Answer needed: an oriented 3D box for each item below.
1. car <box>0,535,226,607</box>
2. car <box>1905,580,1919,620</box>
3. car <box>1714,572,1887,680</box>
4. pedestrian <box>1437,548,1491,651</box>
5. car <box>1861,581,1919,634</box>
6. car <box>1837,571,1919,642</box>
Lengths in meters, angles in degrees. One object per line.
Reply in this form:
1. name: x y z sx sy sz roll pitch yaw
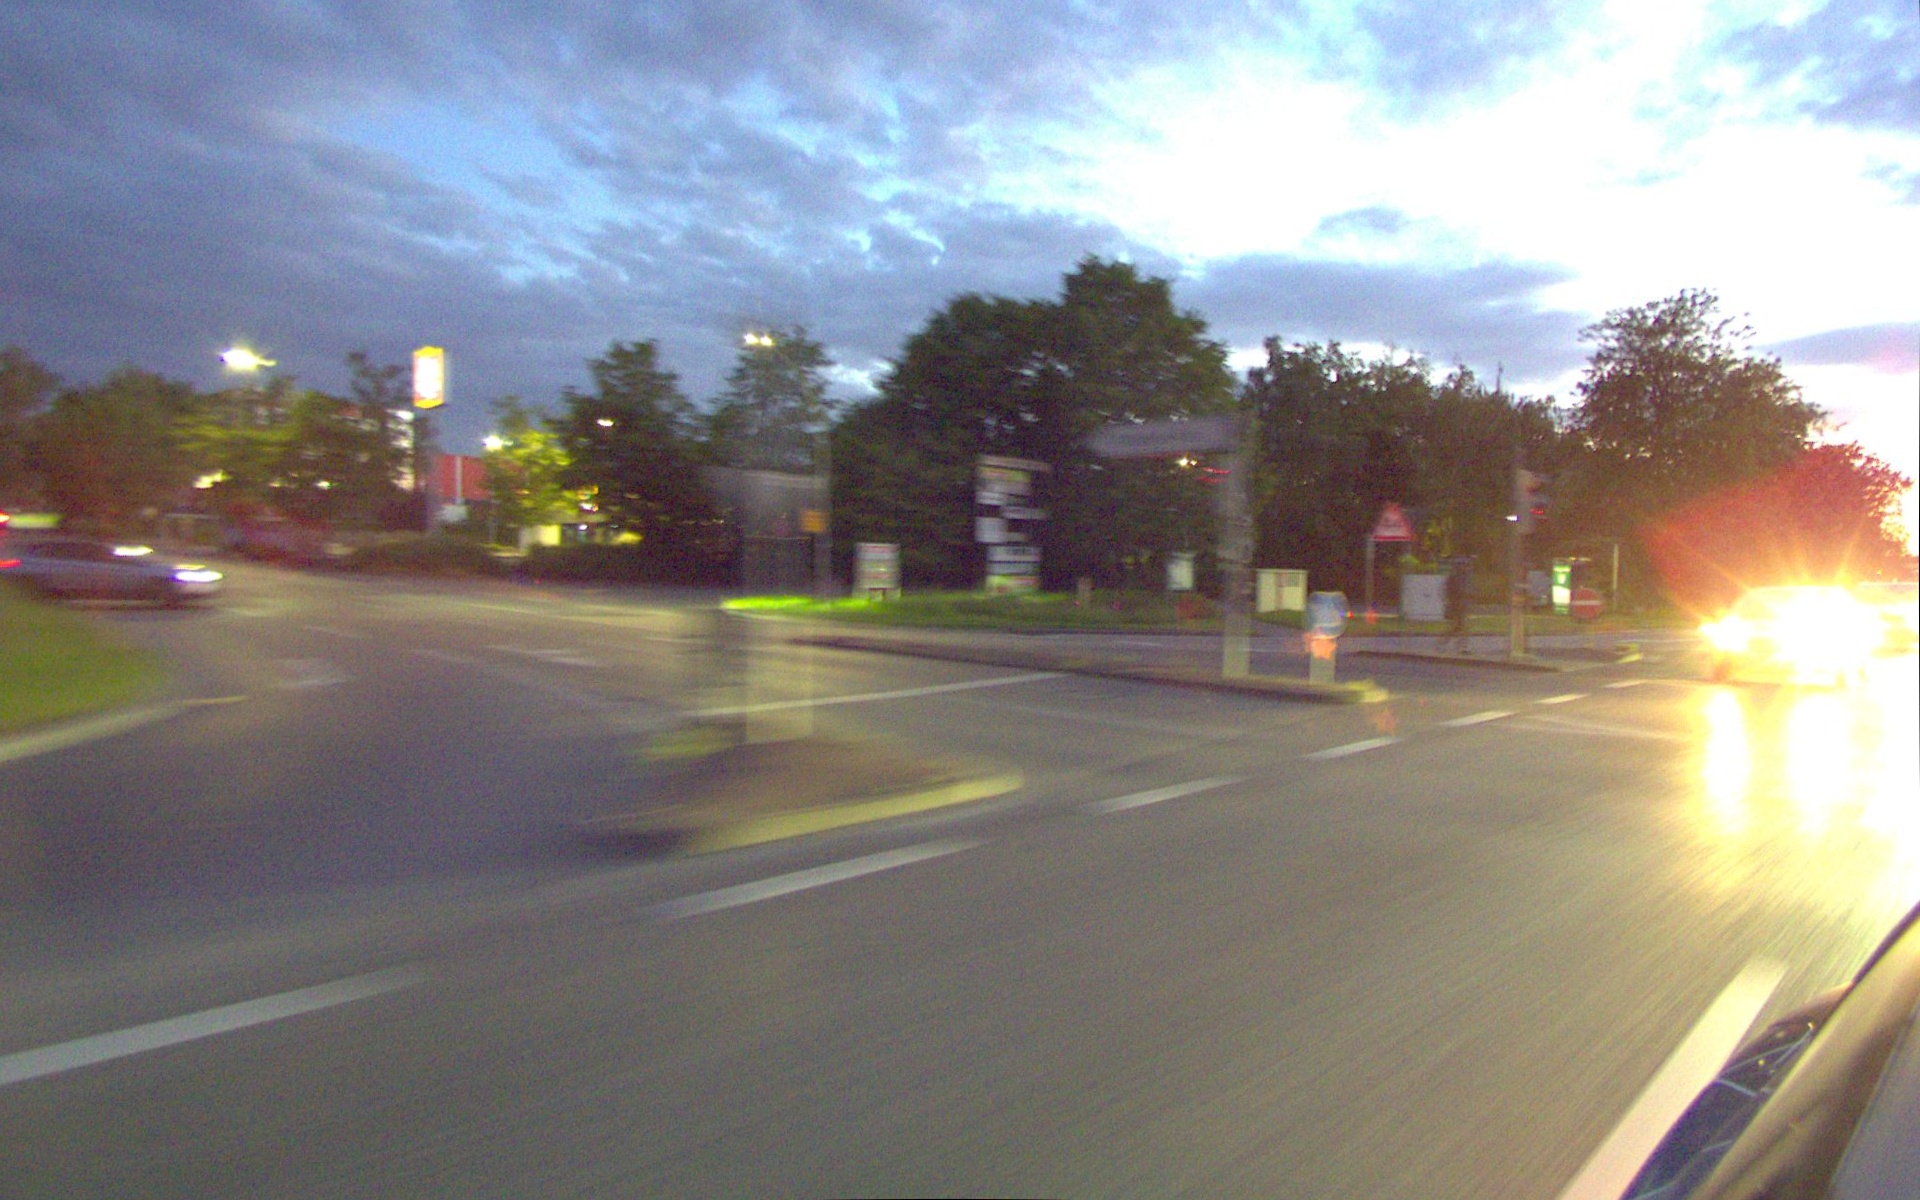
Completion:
1. car: -21.373 -0.723 25.498 4.385 1.684 2.004 0 3 -26
2. car: 35.882 -0.036 36.894 3.933 1.385 1.816 -2 1 -43
3. car: 13.691 0.363 16.414 3.651 1.556 1.661 0 0 -42
4. pedestrian: 10.117 -0.015 20.333 0.768 2.039 0.712 -1 0 9
5. car: 27.344 0.199 29.180 3.690 1.431 1.620 0 1 -42
6. car: 22.634 0.148 24.282 4.226 1.576 1.900 0 0 -42
